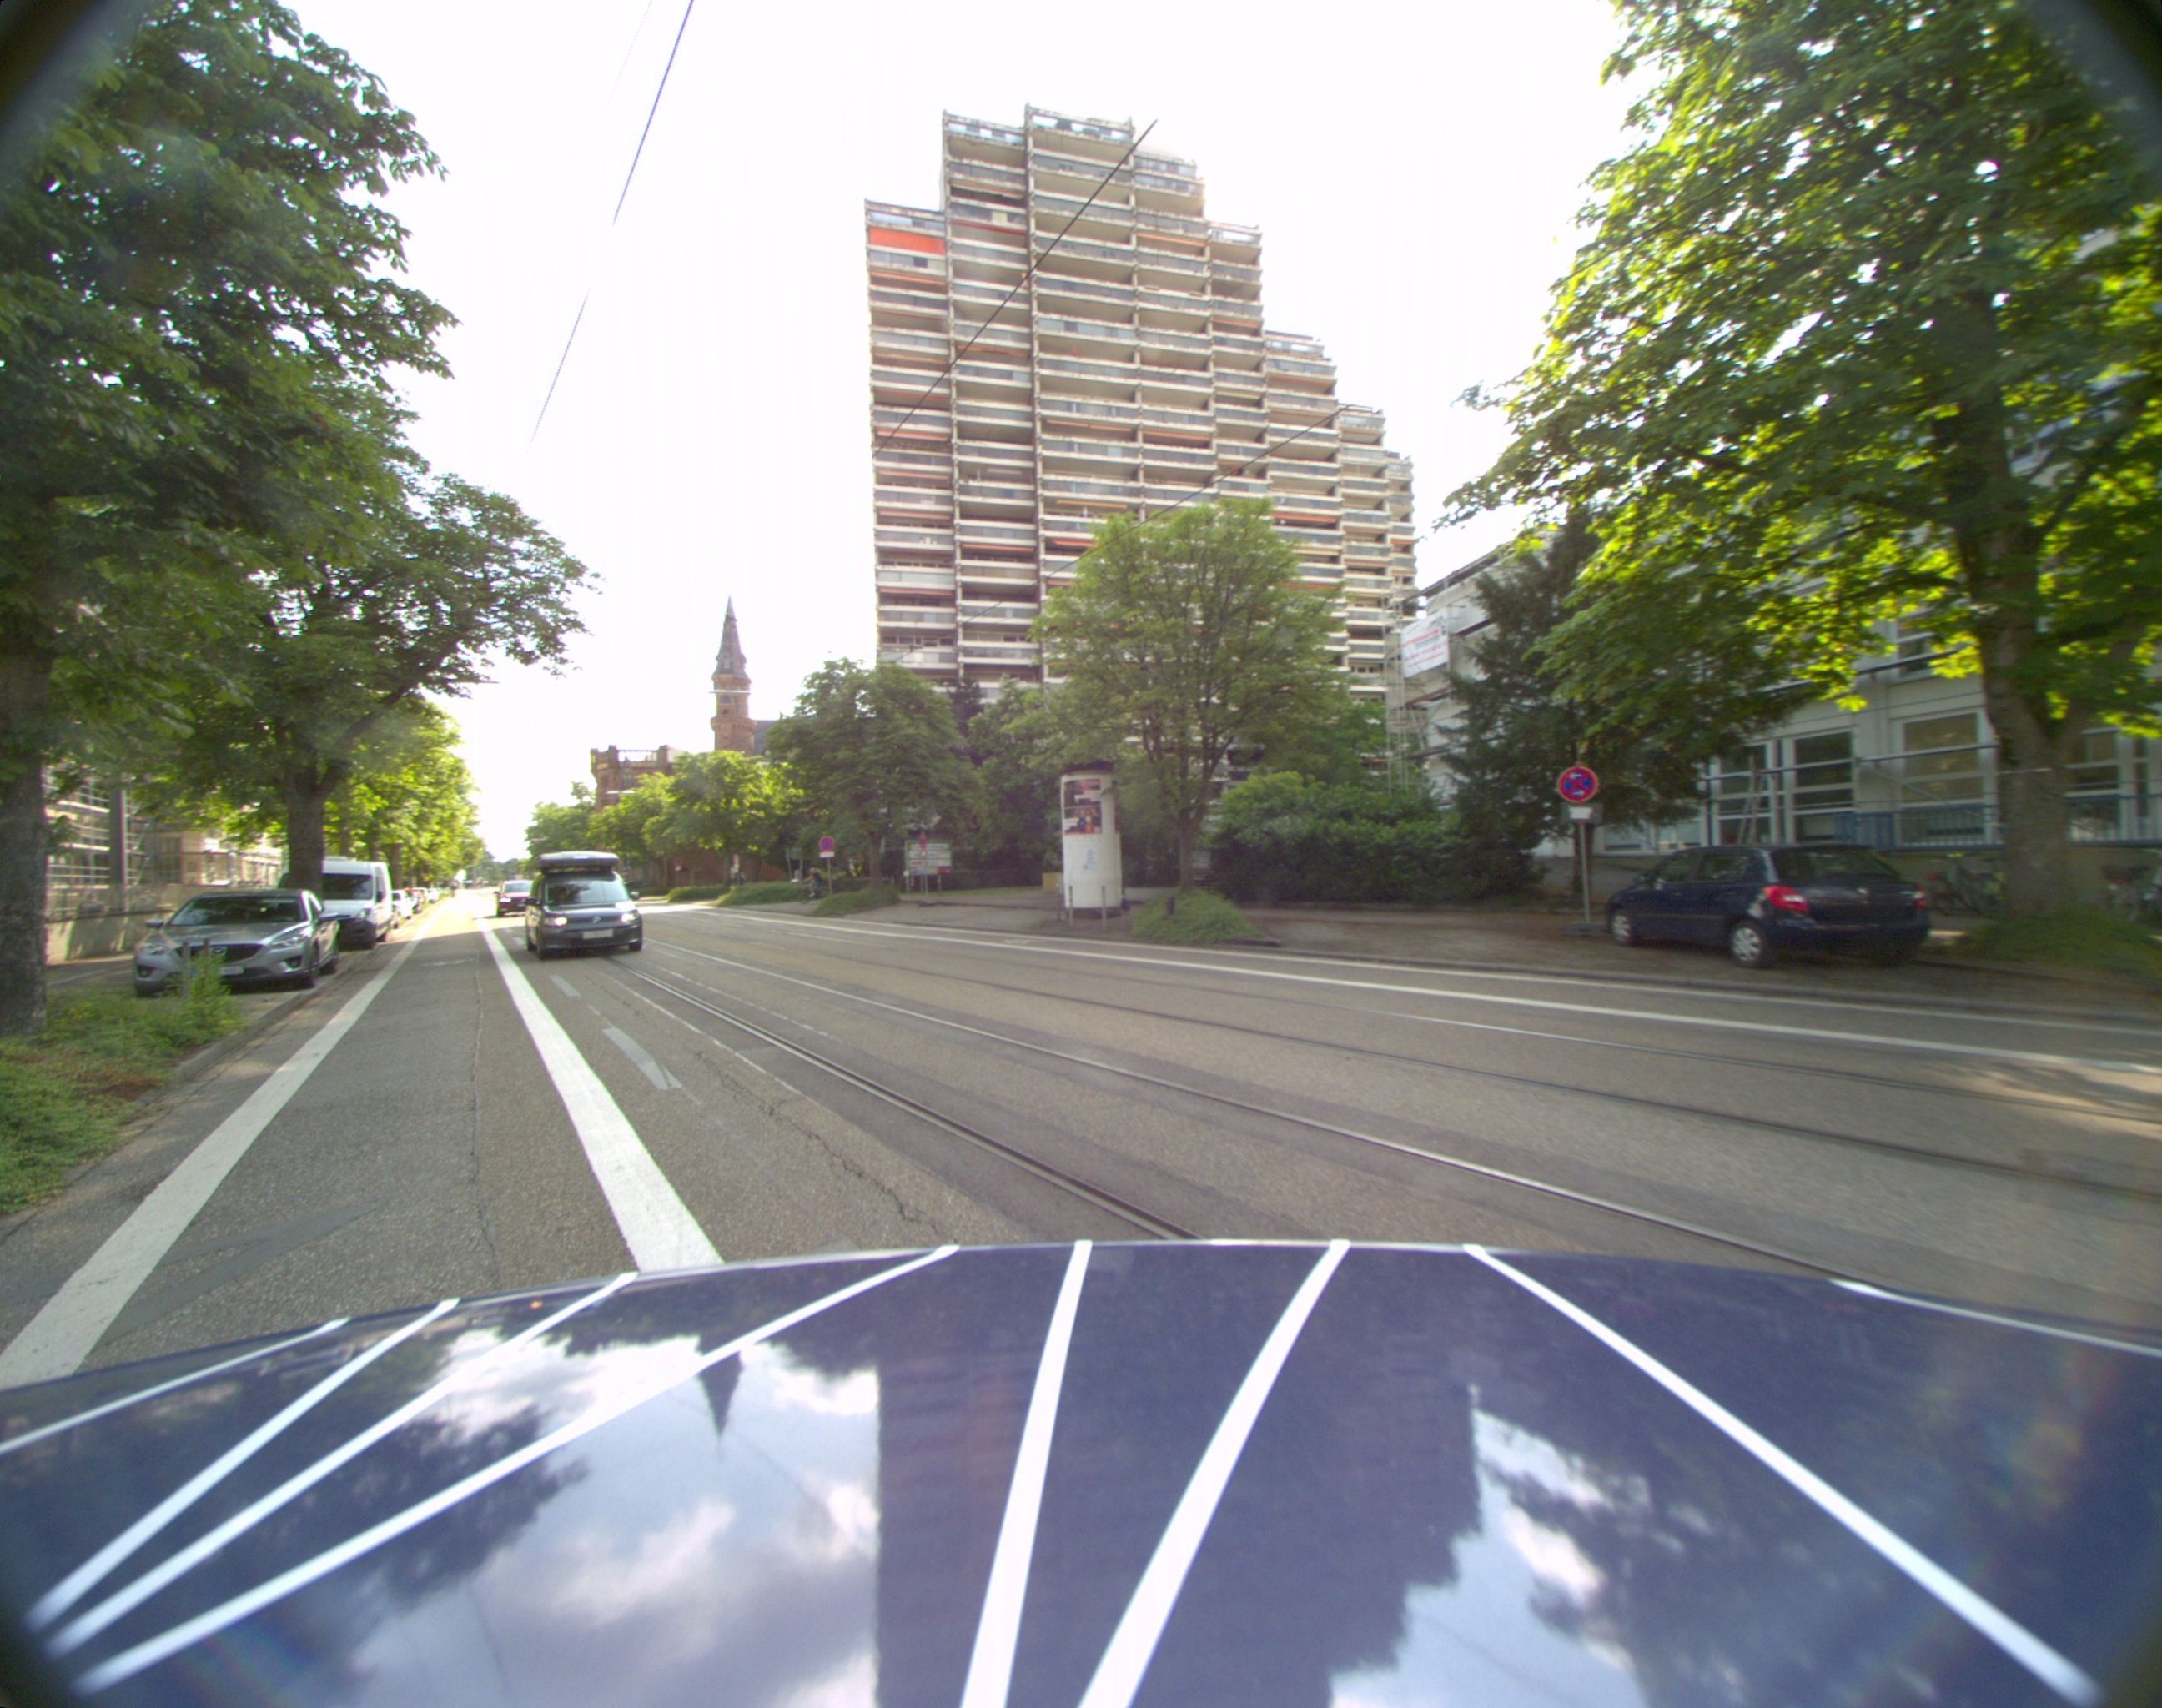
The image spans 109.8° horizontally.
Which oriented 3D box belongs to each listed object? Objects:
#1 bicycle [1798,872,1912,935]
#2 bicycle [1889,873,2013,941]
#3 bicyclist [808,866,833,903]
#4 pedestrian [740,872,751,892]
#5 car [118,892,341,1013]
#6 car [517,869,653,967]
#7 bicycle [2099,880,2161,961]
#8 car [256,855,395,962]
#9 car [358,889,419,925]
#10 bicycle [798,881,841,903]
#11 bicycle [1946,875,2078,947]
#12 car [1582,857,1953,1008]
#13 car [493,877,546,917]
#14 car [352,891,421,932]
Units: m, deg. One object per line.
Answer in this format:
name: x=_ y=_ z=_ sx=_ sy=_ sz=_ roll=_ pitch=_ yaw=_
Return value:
bicycle: x=15.502 y=0.979 z=15.228 sx=2.056 sy=1.081 sz=0.496 roll=-3 pitch=2 yaw=-9
bicycle: x=16.074 y=0.960 z=14.038 sx=2.056 sy=1.081 sz=0.496 roll=-3 pitch=2 yaw=-9
bicyclist: x=-12.738 y=1.489 z=37.158 sx=0.724 sy=1.730 sz=0.782 roll=-2 pitch=2 yaw=19
pedestrian: x=-28.942 y=2.421 z=65.540 sx=0.767 sy=1.620 sz=0.736 roll=-4 pitch=2 yaw=-30
car: x=-14.112 y=1.491 z=12.895 sx=1.774 sy=1.597 sz=4.447 roll=-2 pitch=-1 yaw=-39
car: x=-11.013 y=1.267 z=16.692 sx=1.950 sy=1.763 sz=4.824 roll=-2 pitch=0 yaw=-39
bicycle: x=16.588 y=0.965 z=11.507 sx=2.056 sy=1.081 sz=0.496 roll=-3 pitch=2 yaw=-9
car: x=-20.888 y=1.367 z=21.273 sx=2.134 sy=2.552 sz=5.903 roll=-1 pitch=0 yaw=-39
car: x=-33.217 y=2.491 z=36.524 sx=1.572 sy=1.448 sz=3.885 roll=-4 pitch=2 yaw=-35
bicycle: x=-12.814 y=1.865 z=37.226 sx=1.979 sy=0.975 sz=0.569 roll=-3 pitch=2 yaw=17
bicycle: x=16.212 y=0.979 z=13.235 sx=2.056 sy=1.081 sz=0.496 roll=-3 pitch=2 yaw=-9
car: x=8.678 y=0.871 z=10.173 sx=1.757 sy=1.454 sz=4.002 roll=-3 pitch=1 yaw=9
car: x=-26.638 y=1.985 z=35.991 sx=1.682 sy=1.602 sz=3.959 roll=-4 pitch=2 yaw=-40
car: x=-27.471 y=2.214 z=30.154 sx=1.744 sy=1.364 sz=4.496 roll=1 pitch=-1 yaw=-39
